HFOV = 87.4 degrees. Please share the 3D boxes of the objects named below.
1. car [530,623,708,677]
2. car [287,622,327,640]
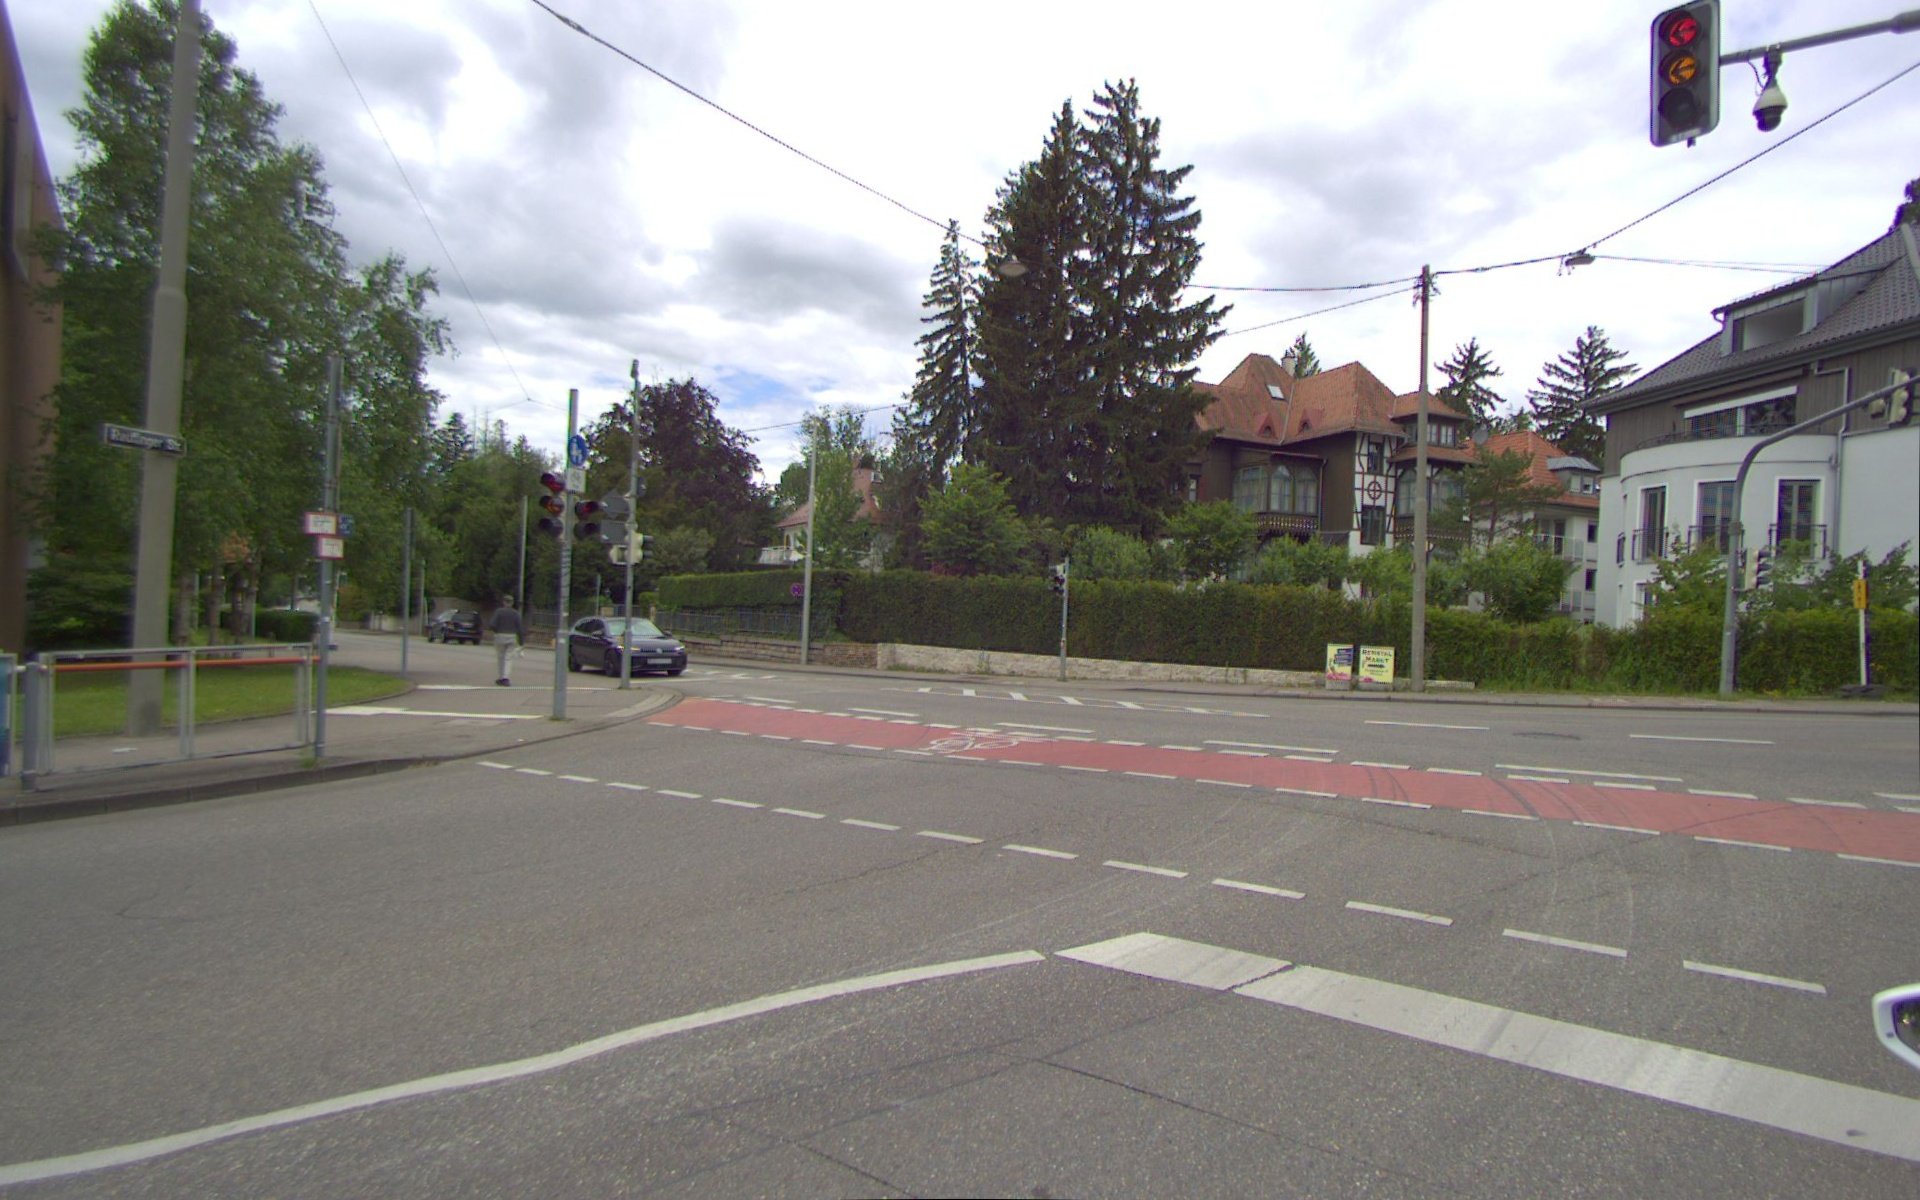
[{"bbox_3d":[-8.549,1.240,25.228,3.924,1.260,1.999,-1,-2,24],"label":"car"},{"bbox_3d":[-50.444,2.397,77.591,1.986,1.216,3.950,2,0,-42],"label":"car"}]
